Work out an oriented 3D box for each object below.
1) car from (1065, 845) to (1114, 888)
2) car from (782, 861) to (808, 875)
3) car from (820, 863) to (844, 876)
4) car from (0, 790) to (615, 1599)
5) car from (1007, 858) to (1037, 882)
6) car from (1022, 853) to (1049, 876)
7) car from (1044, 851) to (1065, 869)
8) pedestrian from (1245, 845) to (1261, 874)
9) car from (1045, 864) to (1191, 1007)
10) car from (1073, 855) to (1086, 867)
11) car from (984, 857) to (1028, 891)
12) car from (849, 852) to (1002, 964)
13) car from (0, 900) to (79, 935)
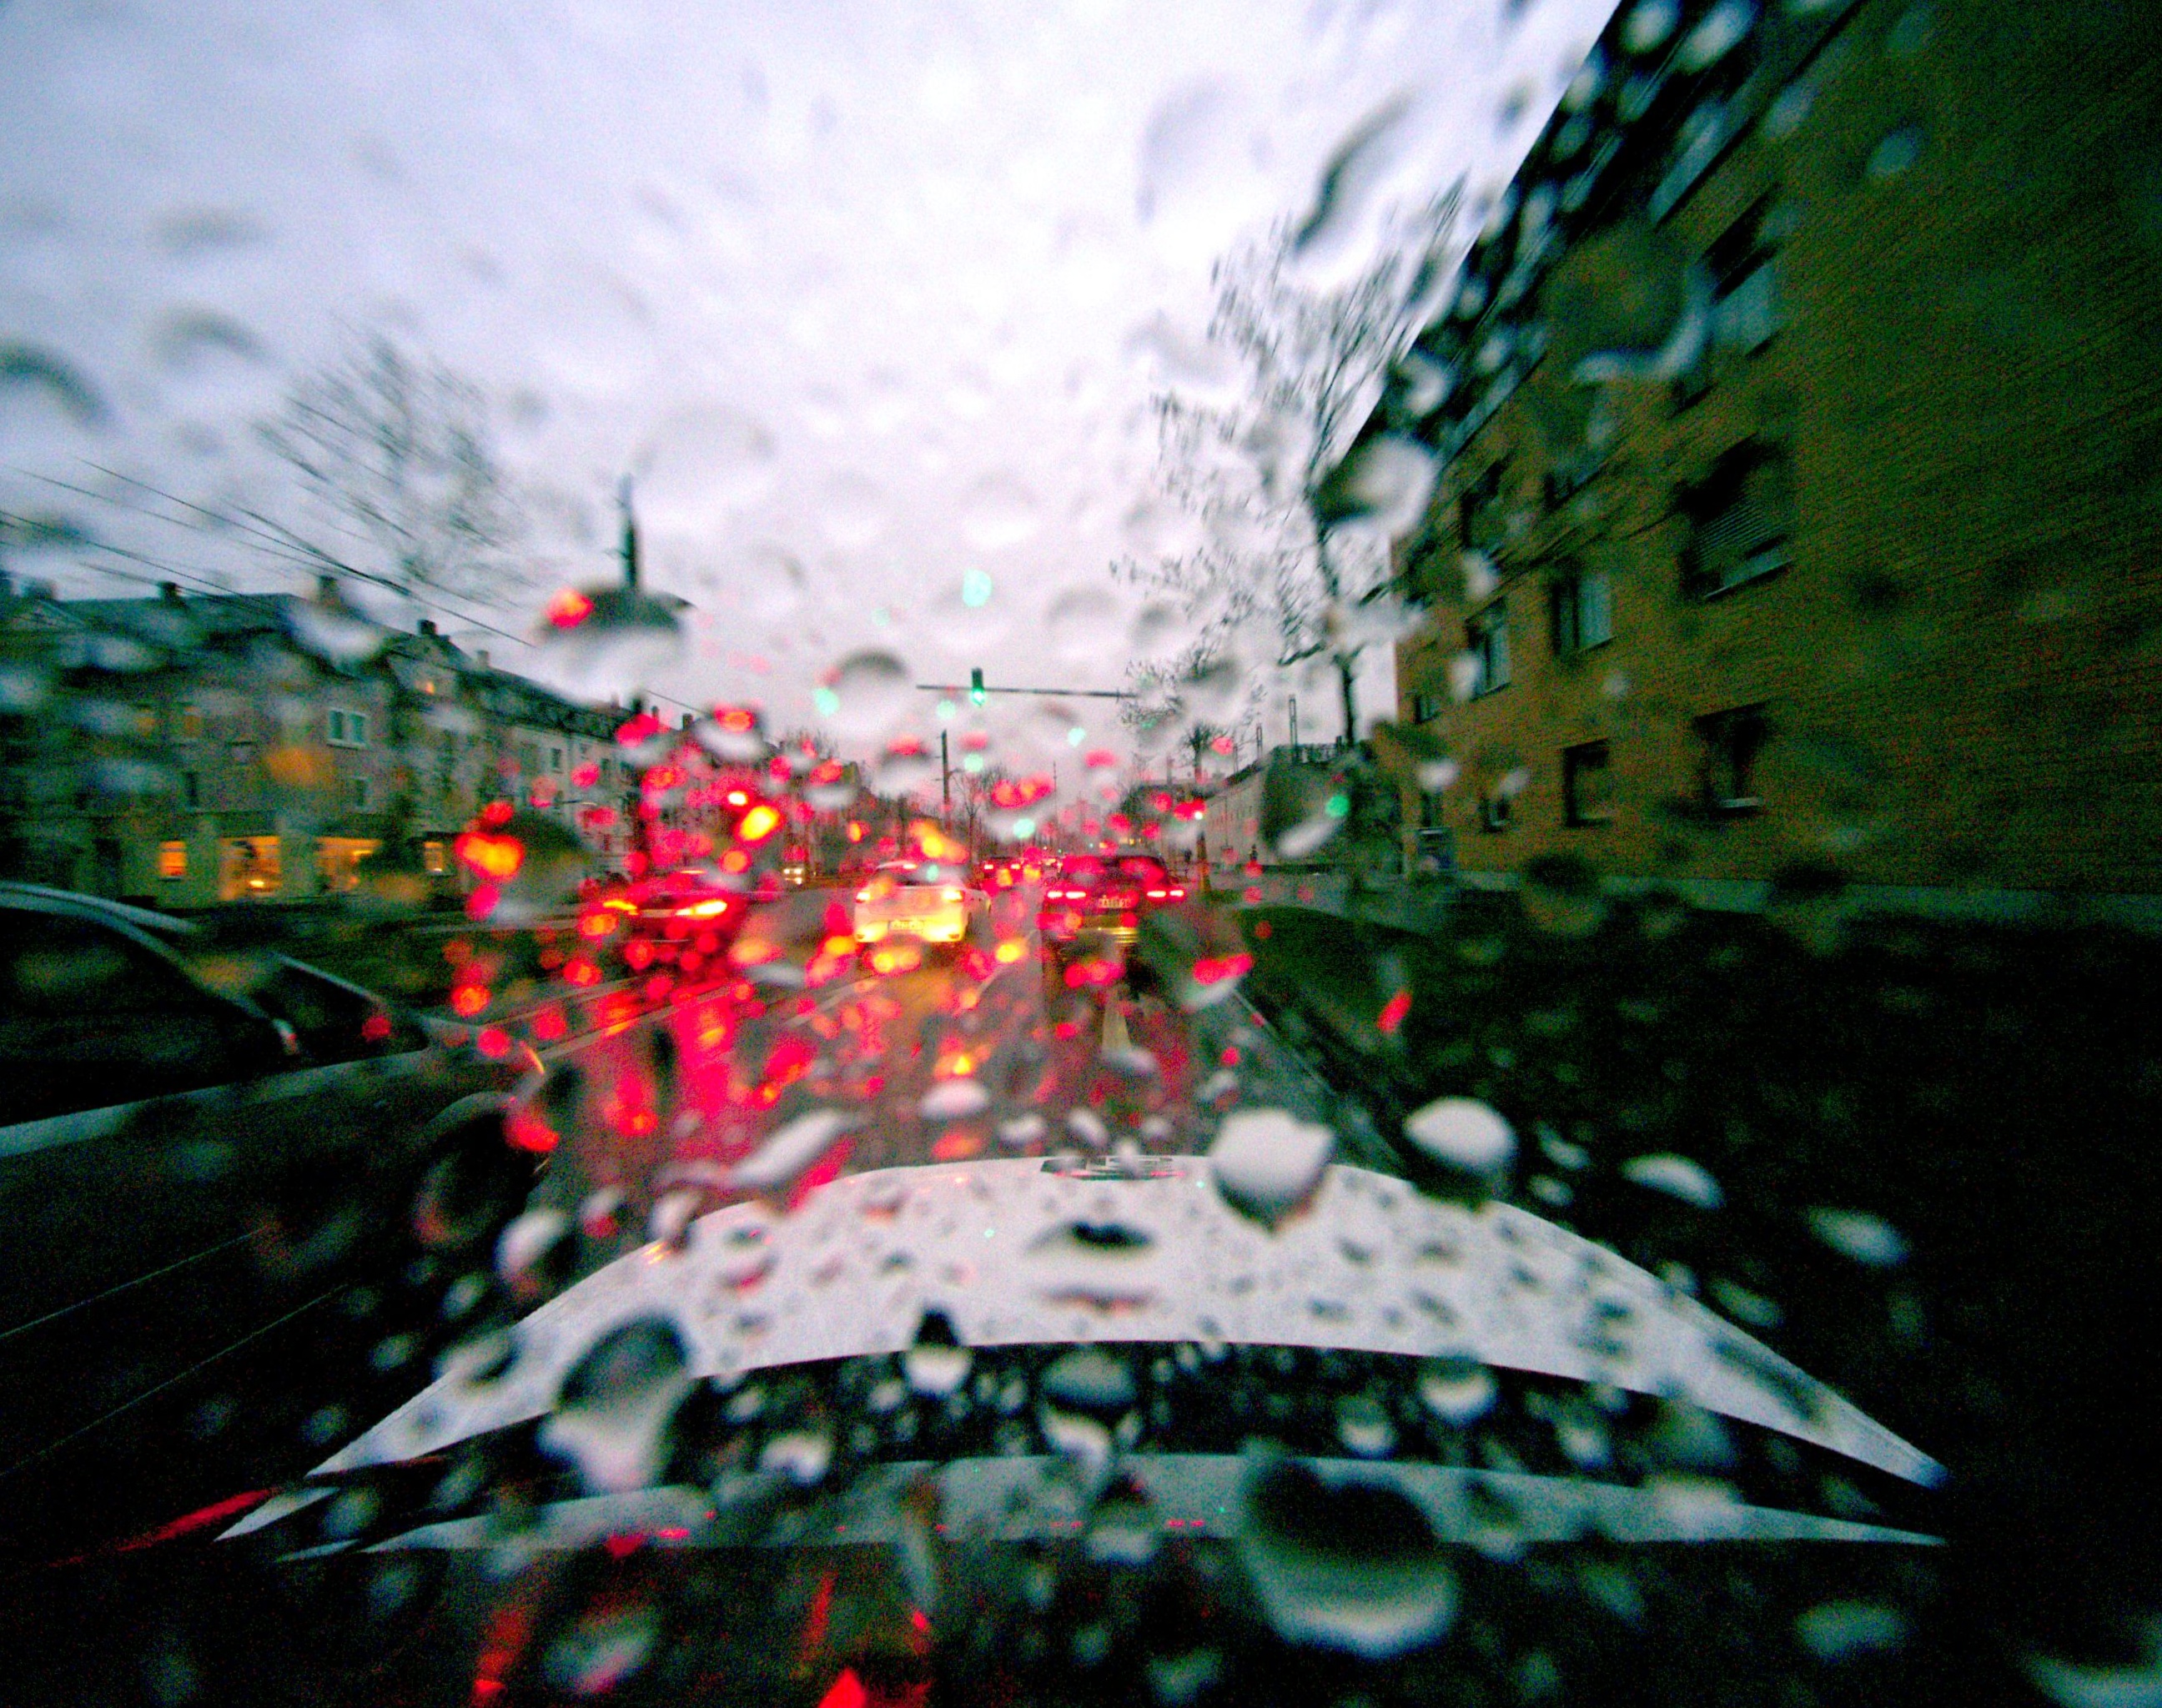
[{"bbox_3d":[0.437,0.542,35.930,1.986,1.744,4.002,-2,0,2],"label":"car"},{"bbox_3d":[-34.686,1.680,98.897,1.770,1.500,3.557,-2,0,1],"label":"car"},{"bbox_3d":[-29.557,1.852,96.762,1.770,1.354,3.557,-2,0,1],"label":"car"},{"bbox_3d":[-3.047,0.682,1.578,1.802,1.600,4.056,-1,0,3],"label":"car"},{"bbox_3d":[-4.097,1.091,57.384,1.665,1.600,4.055,-1,0,2],"label":"car"},{"bbox_3d":[-4.025,0.937,72.683,1.985,2.014,4.002,0,-1,3],"label":"car"},{"bbox_3d":[-2.991,0.734,93.081,1.985,2.014,4.002,0,-1,3],"label":"car"},{"bbox_3d":[9.783,0.289,46.286,0.619,1.610,1.066,-2,0,-2],"label":"pedestrian"},{"bbox_3d":[0.492,0.960,11.388,1.665,1.600,4.055,-1,0,2],"label":"car"},{"bbox_3d":[-0.298,1.195,141.339,1.985,2.013,4.003,-2,0,3],"label":"car"},{"bbox_3d":[-3.663,0.959,40.345,1.665,1.600,4.055,-1,0,2],"label":"car"},{"bbox_3d":[-2.451,0.795,13.780,1.665,1.600,4.055,-1,0,2],"label":"car"},{"bbox_3d":[-48.700,2.901,36.862,3.979,1.420,1.997,-1,0,-4],"label":"car"}]
